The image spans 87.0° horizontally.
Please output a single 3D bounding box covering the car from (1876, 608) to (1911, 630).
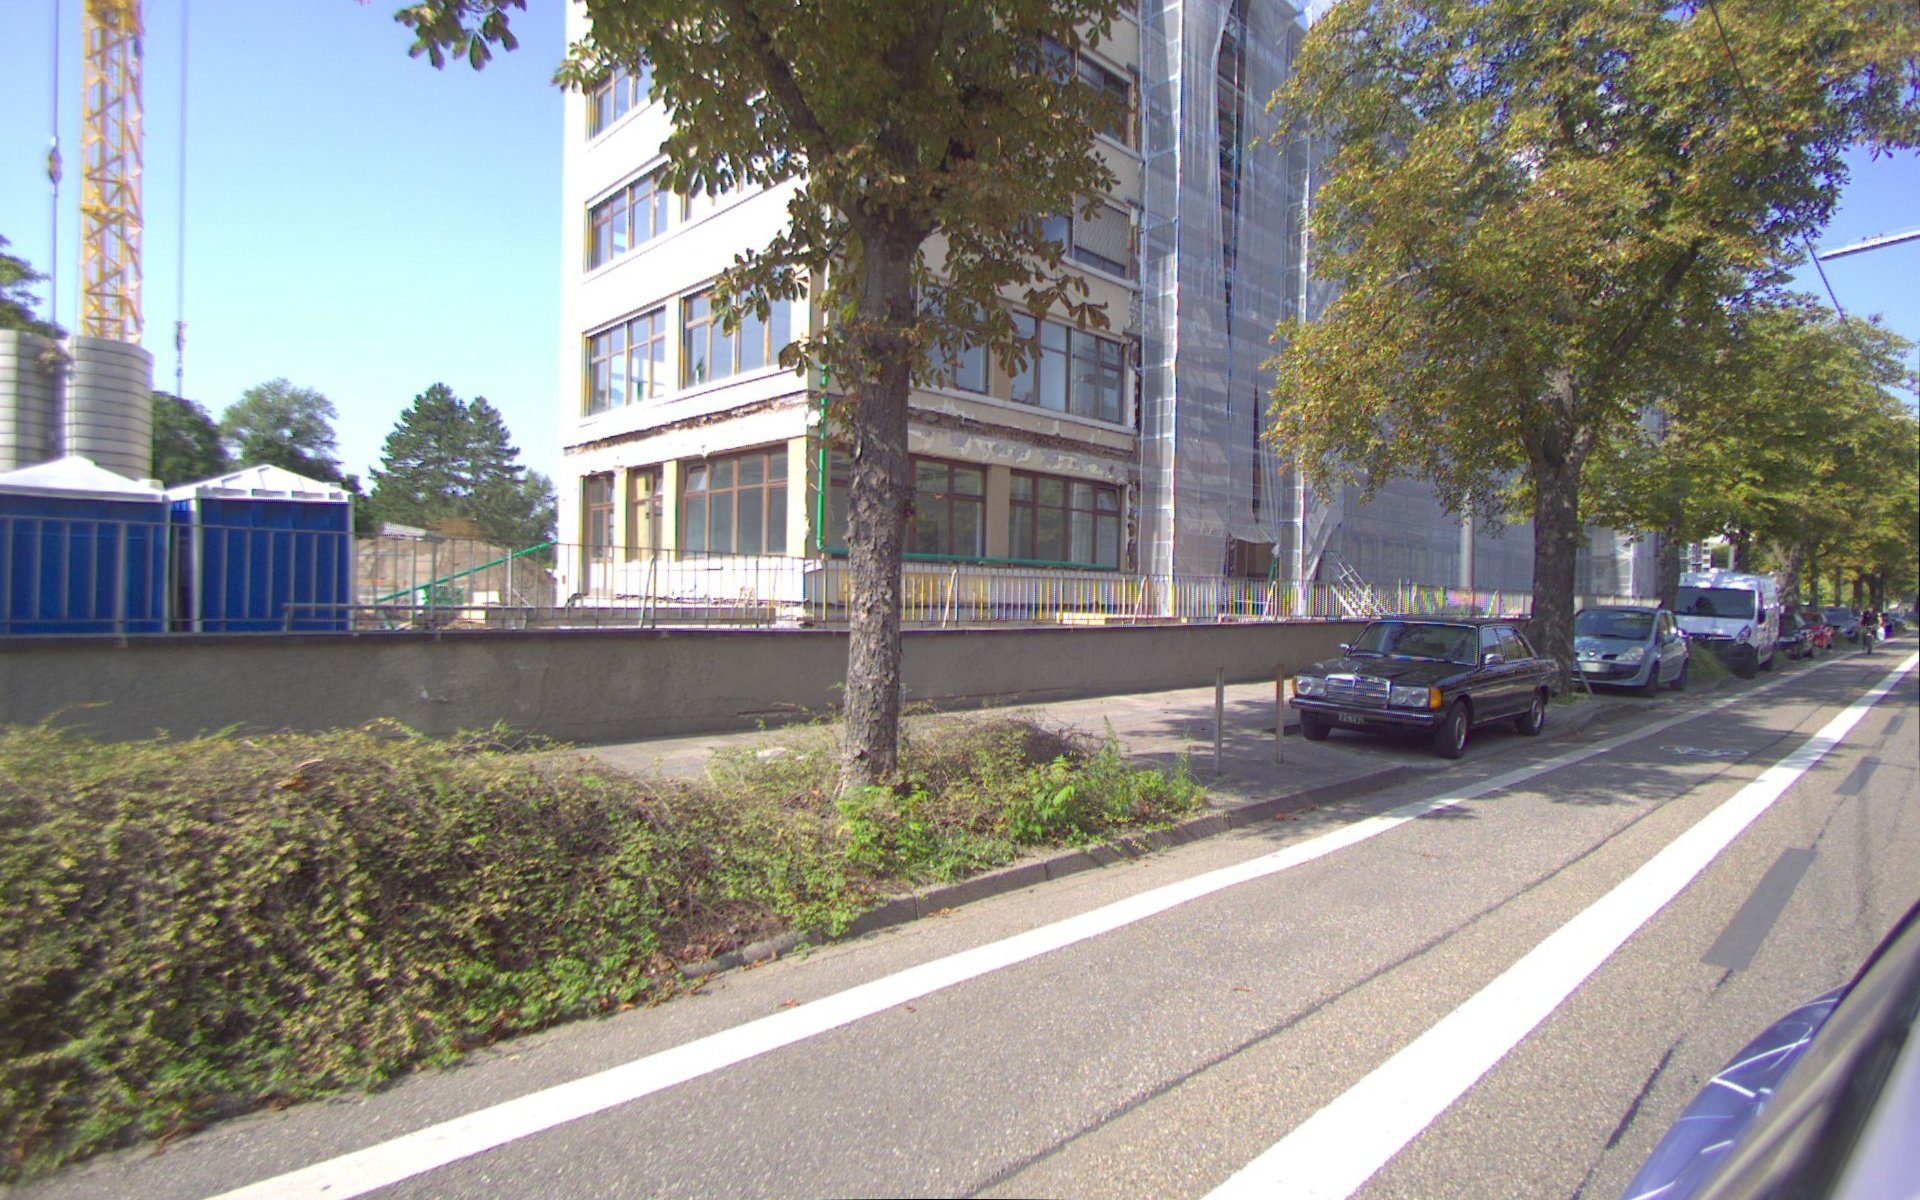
[{"bbox_3d":[65.569,1.306,71.049,1.647,1.446,4.019,4,2,45],"label":"car"}]

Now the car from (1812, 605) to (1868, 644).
[{"bbox_3d":[40.771,1.110,46.879,1.753,1.713,4.326,0,-1,44],"label":"car"}]

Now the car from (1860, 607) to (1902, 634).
[{"bbox_3d":[56.966,1.246,62.575,3.715,1.529,1.648,1,2,-44],"label":"car"}]

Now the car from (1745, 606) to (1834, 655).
[{"bbox_3d":[26.503,0.934,32.273,4.746,1.391,1.618,1,1,-44],"label":"car"}]

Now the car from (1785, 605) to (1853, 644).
[{"bbox_3d":[33.656,0.926,39.610,3.933,1.431,1.618,1,1,-44],"label":"car"}]

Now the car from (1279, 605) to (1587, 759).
[{"bbox_3d":[5.785,0.814,12.061,4.640,1.394,1.755,1,2,-44],"label":"car"}]

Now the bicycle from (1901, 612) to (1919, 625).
[{"bbox_3d":[87.189,1.694,92.446,1.770,1.077,0.783,4,2,45],"label":"bicycle"}]

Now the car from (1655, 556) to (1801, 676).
[{"bbox_3d":[19.240,0.341,25.245,2.084,2.583,5.413,6,4,44],"label":"car"}]

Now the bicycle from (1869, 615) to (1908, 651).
[{"bbox_3d":[31.733,1.101,34.583,2.265,1.159,0.788,1,0,-42],"label":"bicycle"}]

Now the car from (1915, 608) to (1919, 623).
[{"bbox_3d":[99.941,1.698,104.583,1.742,1.504,4.365,3,1,44],"label":"car"}]

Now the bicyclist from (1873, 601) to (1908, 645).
[{"bbox_3d":[32.089,0.772,34.914,1.097,1.488,0.788,1,0,-42],"label":"bicyclist"}]

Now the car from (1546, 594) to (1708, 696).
[{"bbox_3d":[12.435,0.771,18.772,3.812,1.637,1.666,1,1,-44],"label":"car"}]
